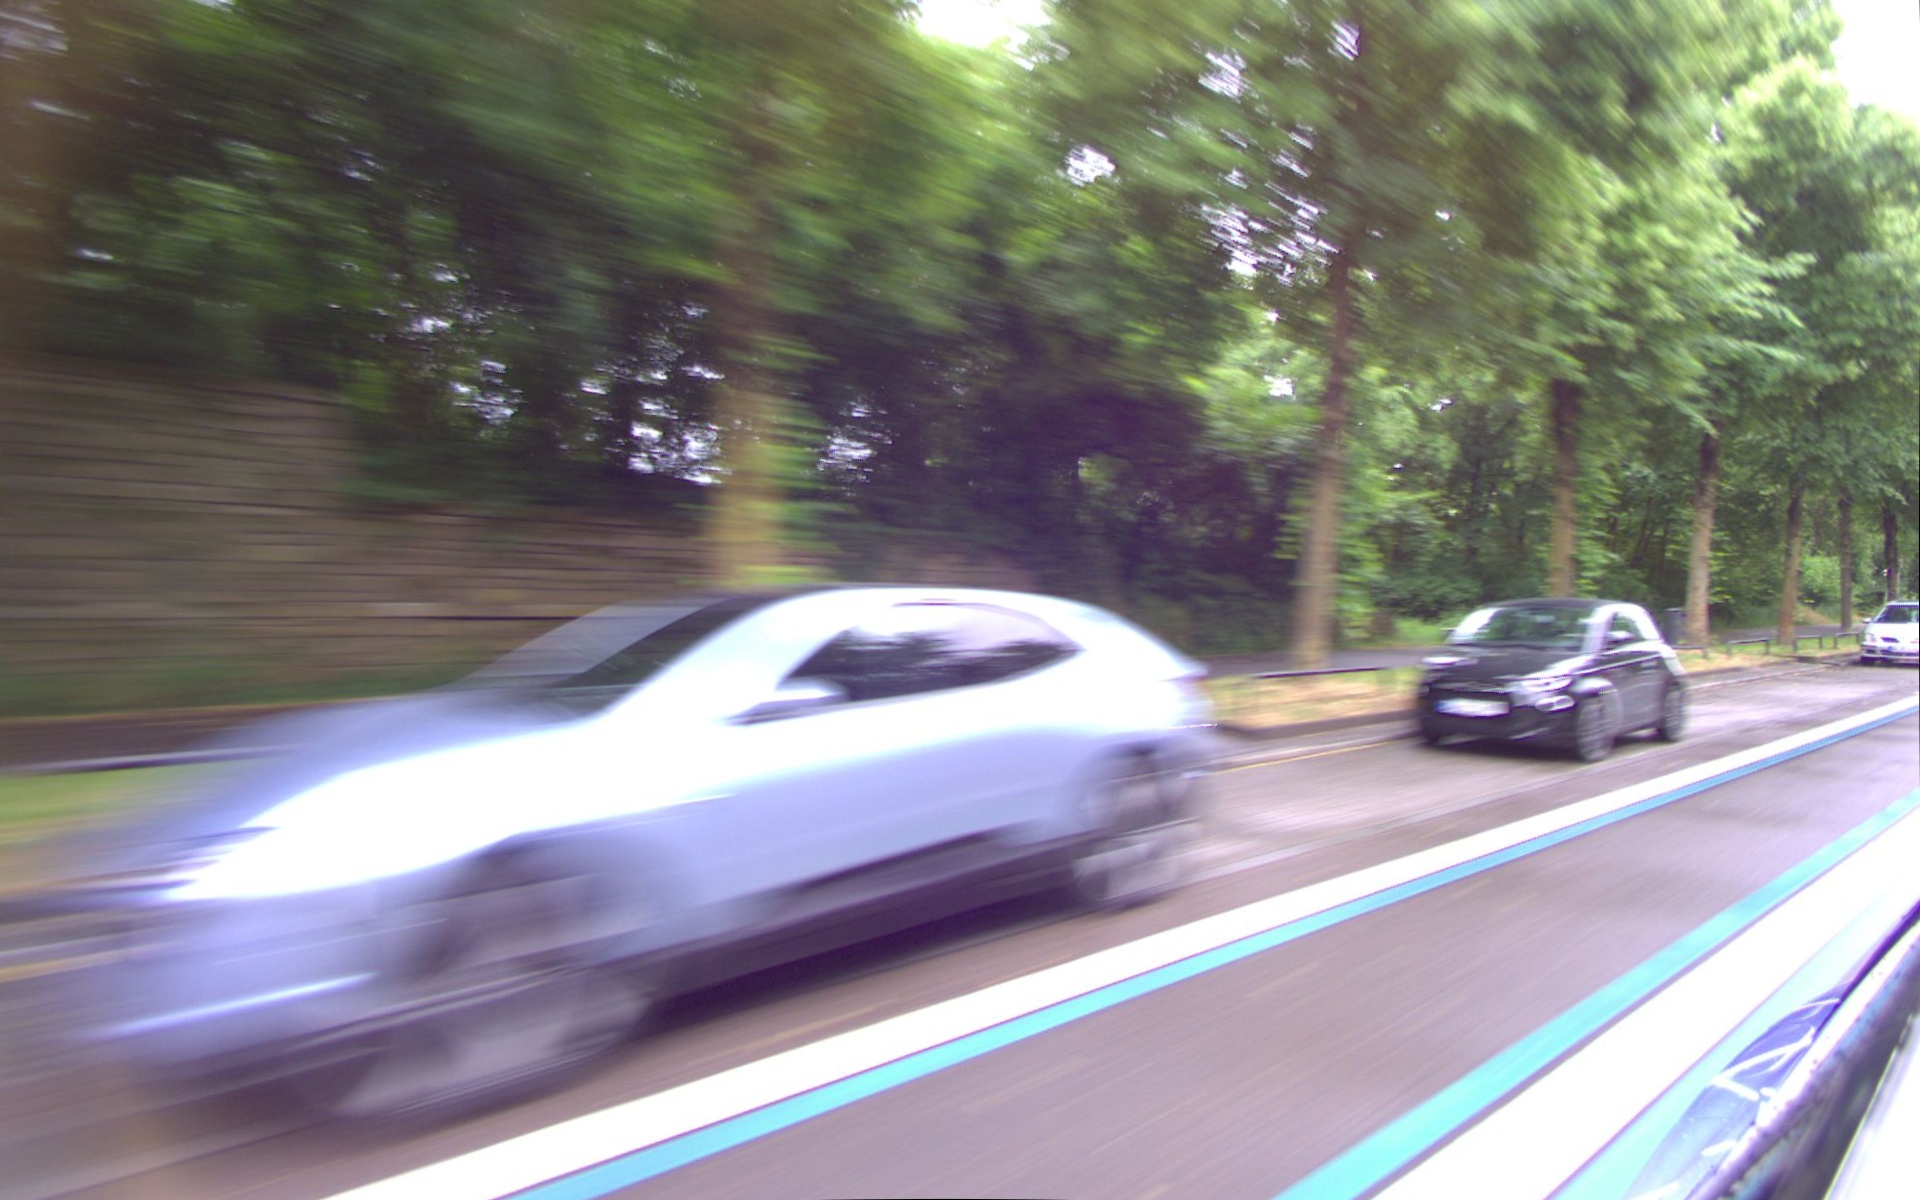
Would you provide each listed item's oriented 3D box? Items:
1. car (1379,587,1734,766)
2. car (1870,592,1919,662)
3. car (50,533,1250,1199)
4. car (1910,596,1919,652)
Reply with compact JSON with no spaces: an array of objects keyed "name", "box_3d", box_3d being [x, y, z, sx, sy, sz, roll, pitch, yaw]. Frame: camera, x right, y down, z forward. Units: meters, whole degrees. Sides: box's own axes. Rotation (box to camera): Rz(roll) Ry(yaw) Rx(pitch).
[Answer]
[{"name":"car","box_3d":[6.505,0.646,10.823,4.488,1.522,1.830,0,1,-39]},{"name":"car","box_3d":[24.007,0.625,24.868,4.655,1.617,1.757,0,0,-39]},{"name":"car","box_3d":[-0.854,0.620,4.489,4.672,1.567,1.902,0,1,-41]},{"name":"car","box_3d":[28.439,0.650,28.522,4.386,1.533,1.702,0,0,-37]}]
